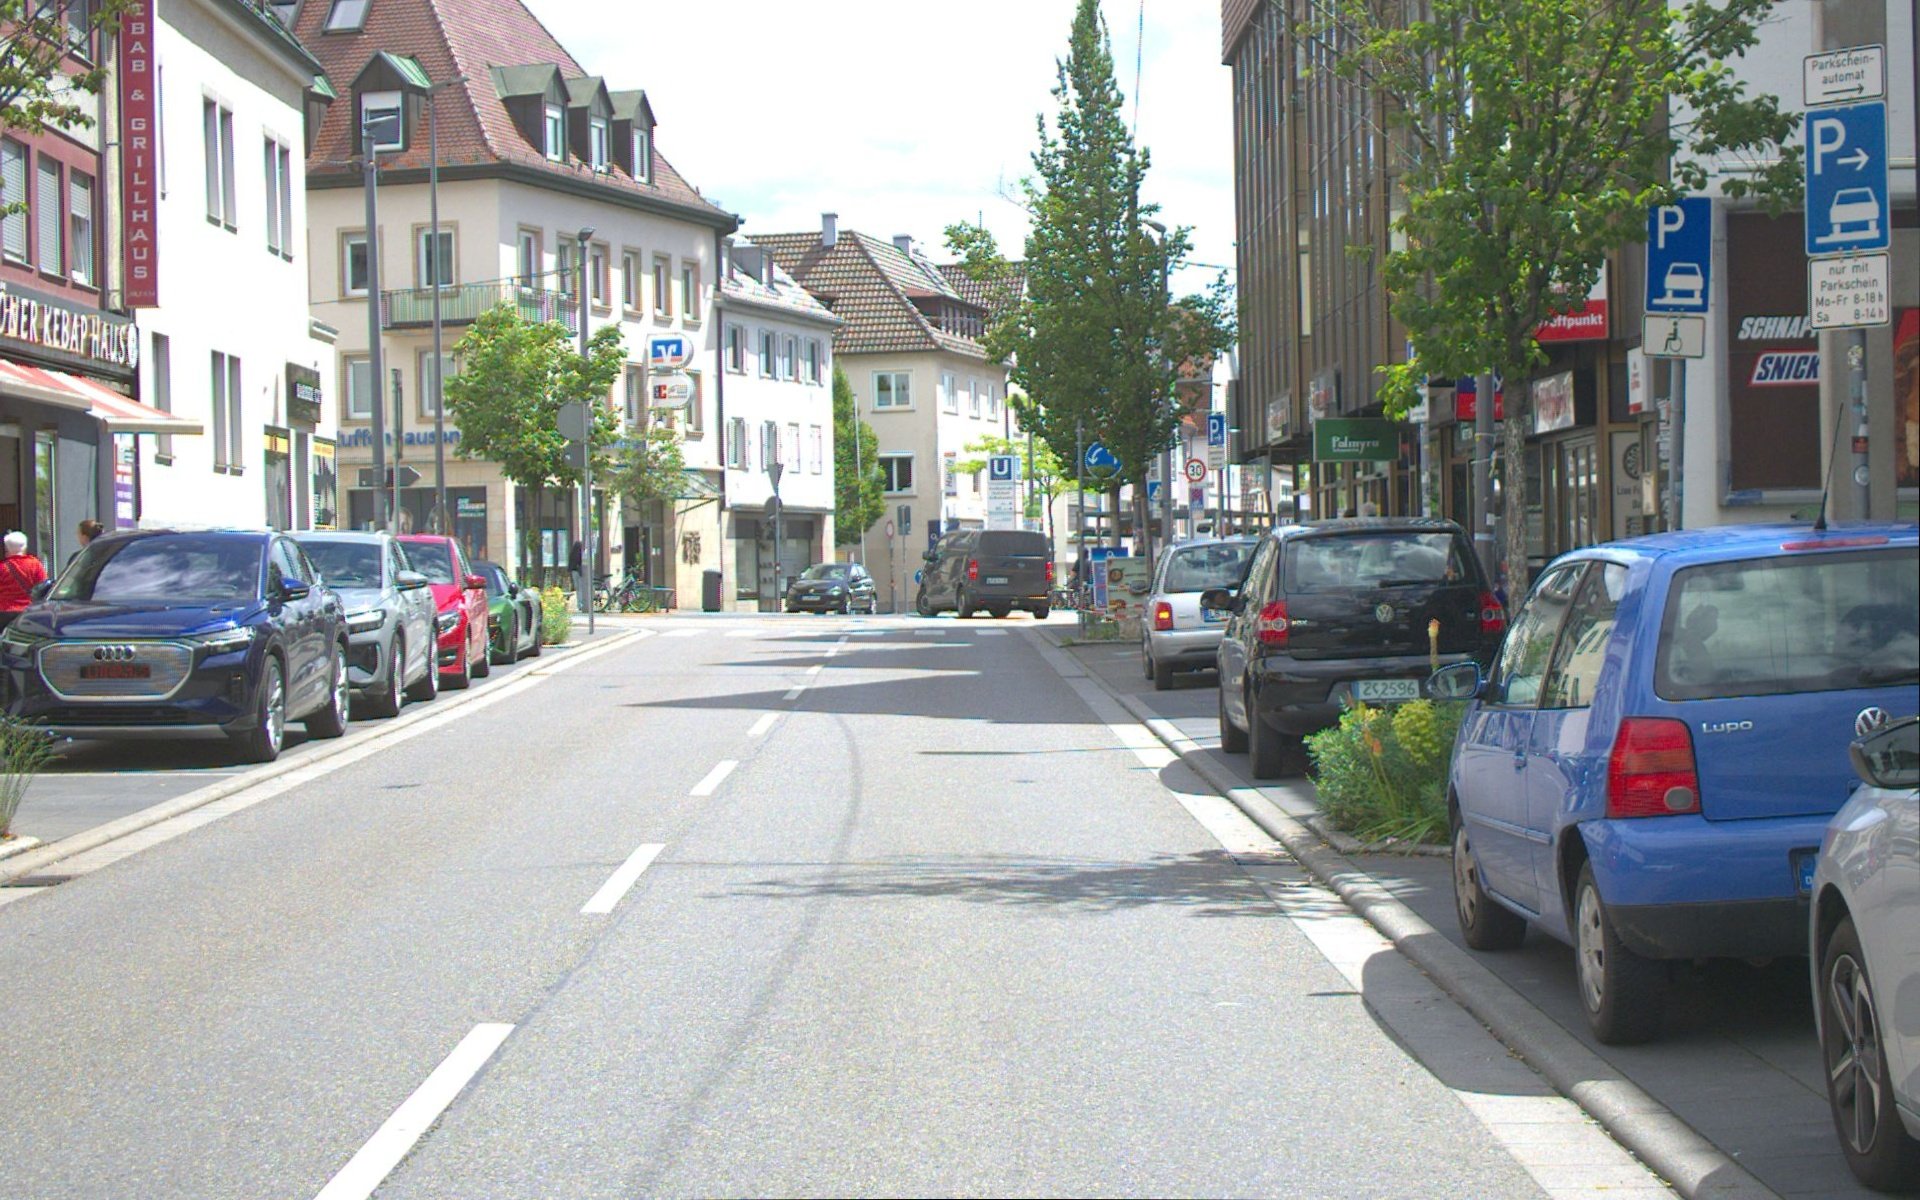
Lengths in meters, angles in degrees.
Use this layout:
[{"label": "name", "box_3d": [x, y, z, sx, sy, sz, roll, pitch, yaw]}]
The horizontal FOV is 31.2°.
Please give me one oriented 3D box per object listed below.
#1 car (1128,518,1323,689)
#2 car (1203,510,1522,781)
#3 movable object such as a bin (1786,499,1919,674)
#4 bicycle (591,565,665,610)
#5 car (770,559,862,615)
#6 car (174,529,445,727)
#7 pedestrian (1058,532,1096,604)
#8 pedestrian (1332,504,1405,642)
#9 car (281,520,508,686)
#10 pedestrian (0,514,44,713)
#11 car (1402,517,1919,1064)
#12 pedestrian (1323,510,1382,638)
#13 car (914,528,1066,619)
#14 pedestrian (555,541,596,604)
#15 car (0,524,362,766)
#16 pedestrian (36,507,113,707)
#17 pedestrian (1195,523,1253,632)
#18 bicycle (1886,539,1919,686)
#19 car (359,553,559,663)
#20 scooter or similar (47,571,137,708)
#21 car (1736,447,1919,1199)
[{"label": "car", "box_3d": [2.584, -0.005, 34.139, 1.609, 1.490, 3.795, -4, 1, 1]}, {"label": "car", "box_3d": [2.479, 0.229, 21.946, 1.609, 1.527, 3.795, -2, 1, 1]}, {"label": "movable object such as a bin", "box_3d": [8.061, -0.123, 30.700, 1.142, 1.522, 1.032, 1, 0, 2]}, {"label": "bicycle", "box_3d": [-7.796, -0.296, 80.672, 1.633, 1.027, 0.567, 1, 0, 15]}, {"label": "car", "box_3d": [-3.883, -0.352, 93.426, 1.625, 1.481, 3.803, 1, 0, 11]}, {"label": "car", "box_3d": [-5.691, 0.190, 30.548, 1.799, 1.598, 4.352, -1, 1, -3]}, {"label": "pedestrian", "box_3d": [2.785, -0.760, 81.746, 0.869, 1.702, 0.530, 1, 0, 3]}, {"label": "pedestrian", "box_3d": [5.079, -0.329, 42.766, 0.655, 1.701, 0.647, 1, 0, -23]}, {"label": "car", "box_3d": [-5.827, -0.015, 35.847, 1.799, 1.598, 4.219, -1, 1, -2]}, {"label": "pedestrian", "box_3d": [-7.941, 0.107, 28.604, 0.501, 1.642, 0.575, 1, 0, -3]}, {"label": "car", "box_3d": [2.575, 0.513, 11.461, 1.721, 1.488, 4.109, 1, 0, 1]}, {"label": "pedestrian", "box_3d": [5.608, -0.366, 49.170, 0.737, 1.808, 0.711, 1, 0, 0]}, {"label": "car", "box_3d": [0.595, -0.570, 73.068, 2.040, 1.842, 5.001, 1, 0, -14]}, {"label": "pedestrian", "box_3d": [-9.341, -0.660, 83.596, 0.627, 1.527, 0.857, 1, 0, 24]}, {"label": "car", "box_3d": [-5.609, 0.256, 24.894, 1.799, 1.592, 4.389, 0, 1, 0]}, {"label": "pedestrian", "box_3d": [-7.379, 0.057, 28.663, 0.514, 1.642, 0.472, 1, 0, -2]}, {"label": "pedestrian", "box_3d": [3.955, -0.332, 51.487, 0.784, 1.610, 0.800, 1, 0, 0]}, {"label": "bicycle", "box_3d": [7.346, 0.092, 25.759, 0.425, 1.077, 1.502, -2, 1, 2]}, {"label": "car", "box_3d": [-6.133, 0.064, 42.532, 1.819, 1.219, 4.524, 1, 1, 0]}, {"label": "scooter or similar", "box_3d": [-7.414, 0.329, 29.397, 0.562, 1.147, 0.985, 1, 0, -3]}, {"label": "car", "box_3d": [2.716, 0.480, 6.003, 1.721, 1.571, 4.429, -3, 2, 1]}]
